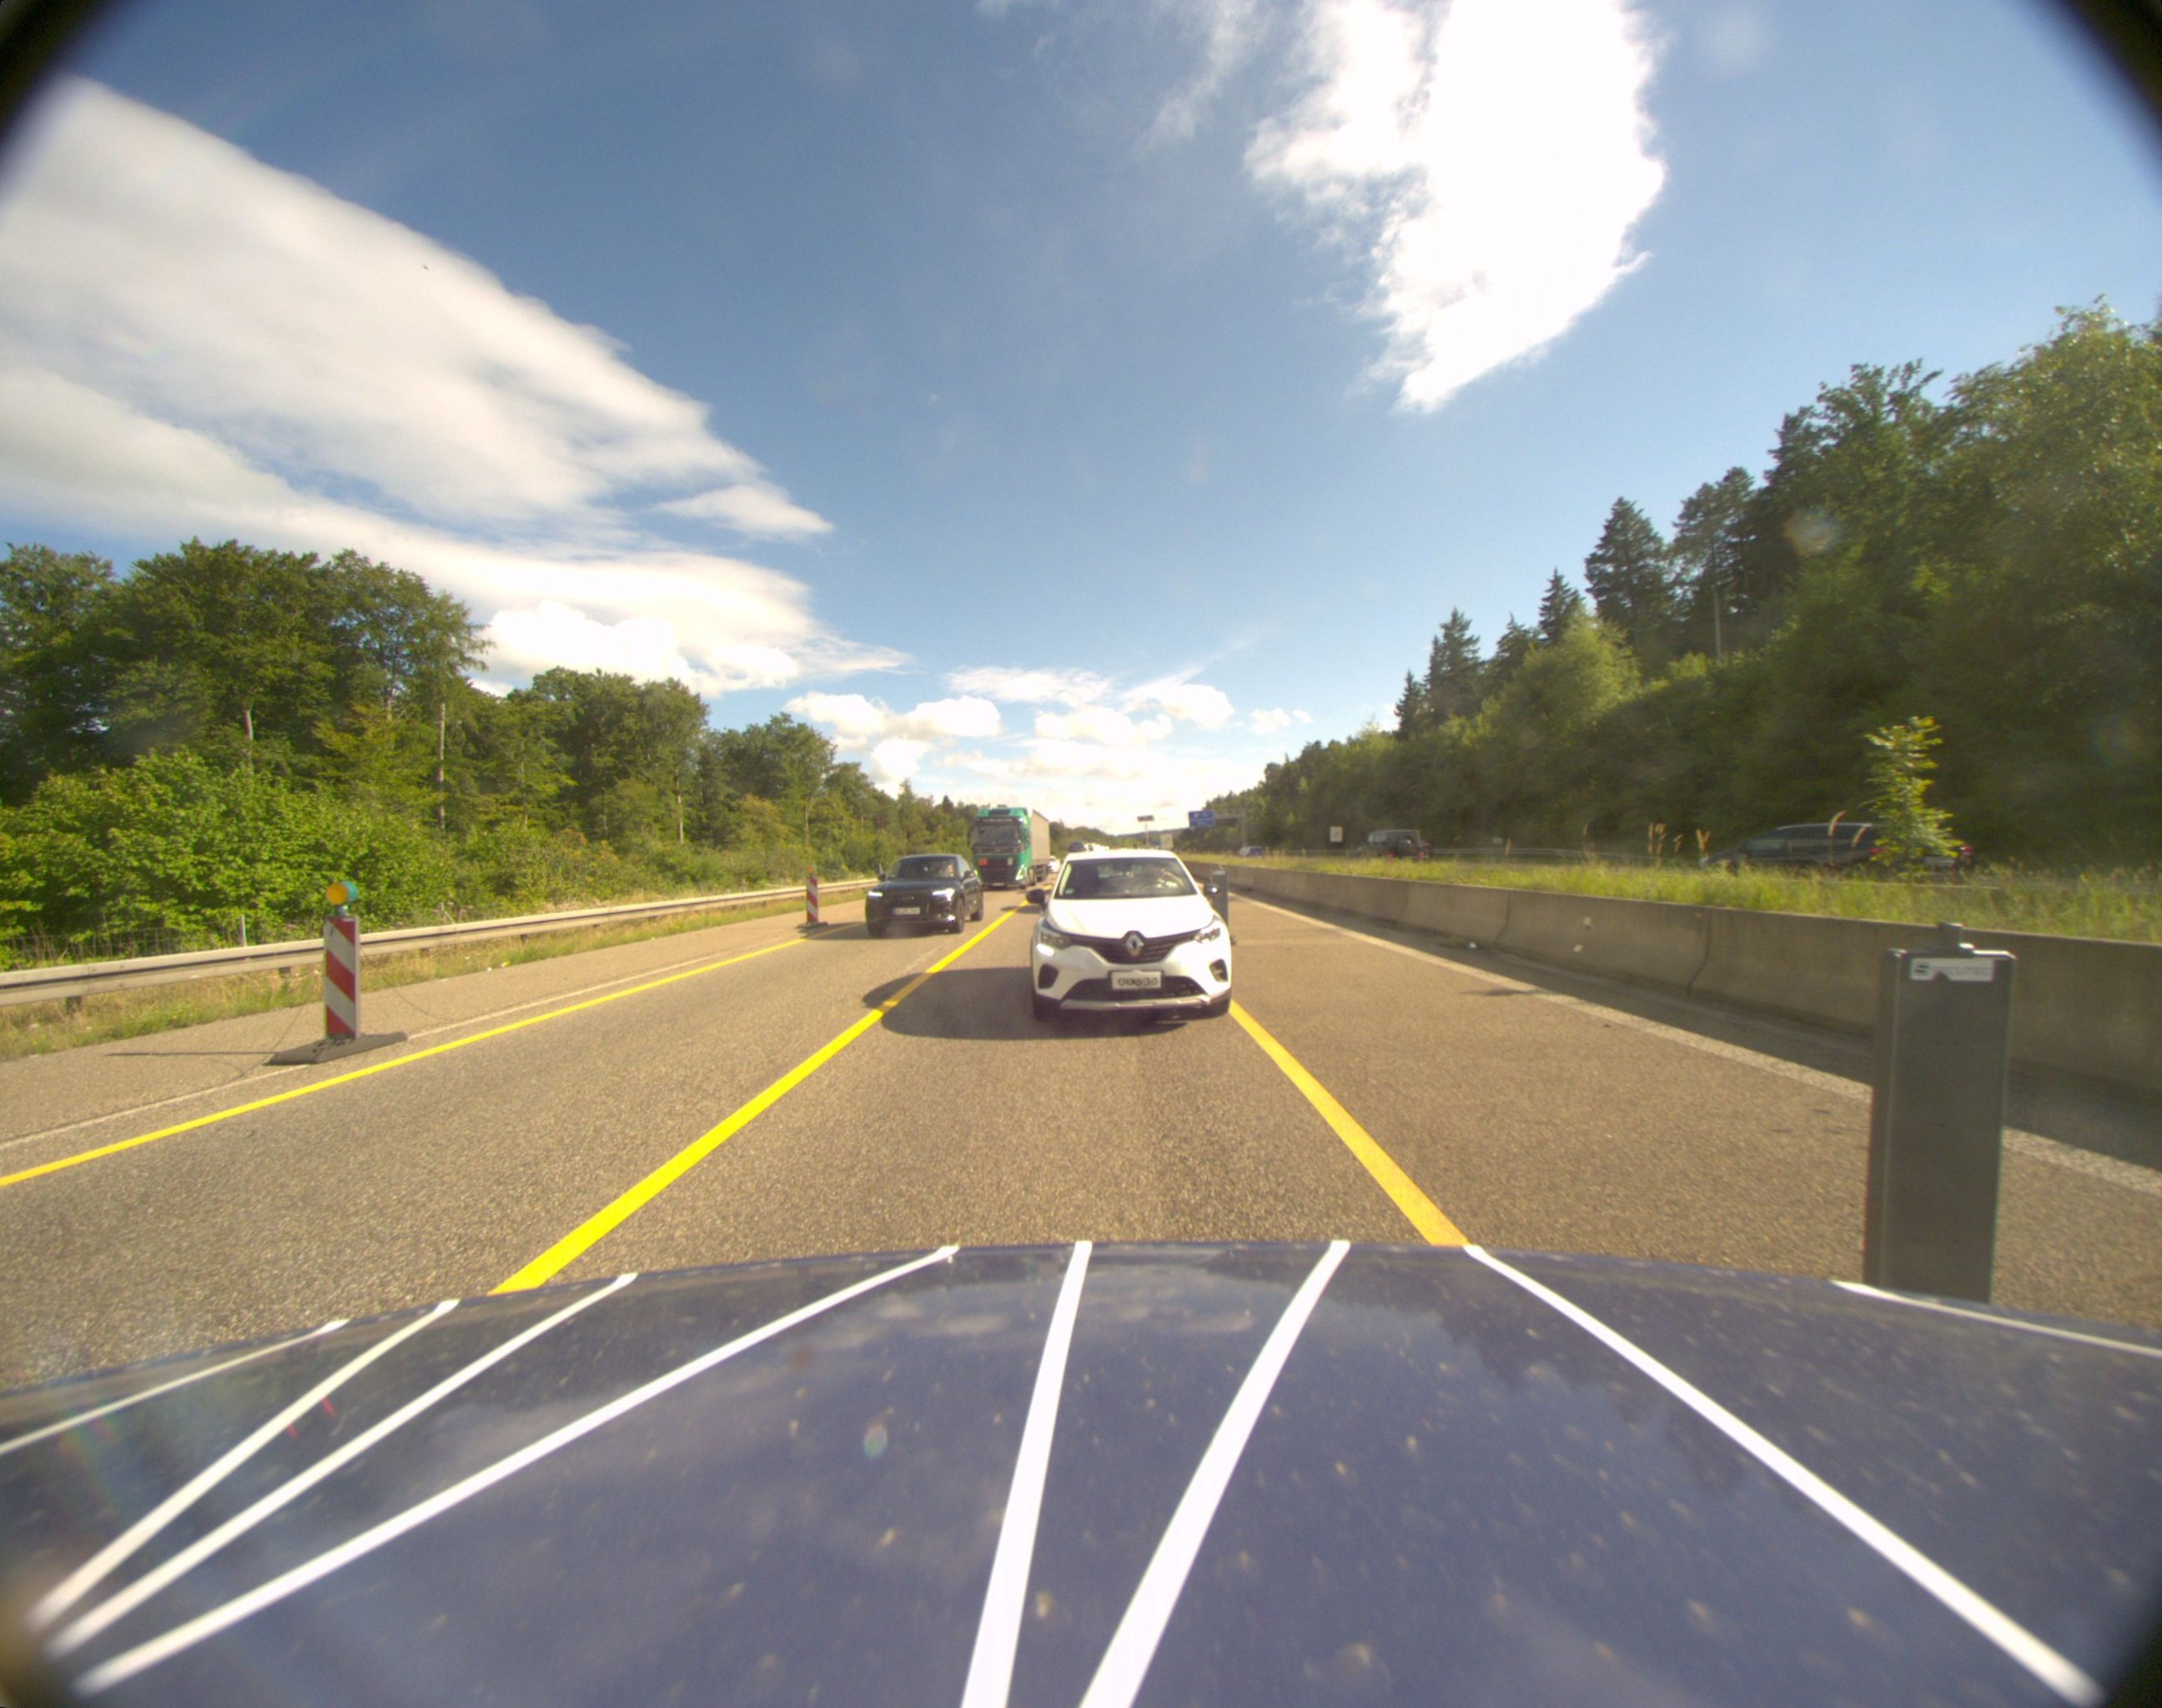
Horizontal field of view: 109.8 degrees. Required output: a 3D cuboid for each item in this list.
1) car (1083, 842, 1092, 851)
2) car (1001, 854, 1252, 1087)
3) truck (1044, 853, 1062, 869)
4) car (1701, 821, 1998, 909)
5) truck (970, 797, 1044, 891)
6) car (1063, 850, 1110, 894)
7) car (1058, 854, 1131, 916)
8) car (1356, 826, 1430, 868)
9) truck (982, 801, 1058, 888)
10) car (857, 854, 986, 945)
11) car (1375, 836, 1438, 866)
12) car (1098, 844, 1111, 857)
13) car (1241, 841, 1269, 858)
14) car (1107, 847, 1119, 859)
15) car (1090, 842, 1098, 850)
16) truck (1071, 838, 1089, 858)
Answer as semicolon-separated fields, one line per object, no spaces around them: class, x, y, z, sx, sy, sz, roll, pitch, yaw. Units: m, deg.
car;1.375;-1.598;161.036;1.750;1.787;3.999;-2;1;0
car;0.357;0.858;7.586;1.782;1.593;4.017;-2;1;1
truck;-2.389;0.575;65.672;1.468;1.215;3.087;-2;1;-2
car;14.965;0.160;15.185;1.782;1.448;4.104;-2;1;1
truck;-3.485;-0.476;37.276;2.527;4.076;6.856;-2;1;2
car;0.246;0.690;31.705;1.782;1.593;4.017;-2;1;1
car;0.367;0.792;21.411;1.782;1.468;4.017;-2;1;1
car;15.508;-0.365;37.985;1.782;1.891;4.617;-2;1;1
truck;-3.192;-0.457;43.876;2.470;4.119;14.212;-2;0;2
car;-3.280;0.859;16.505;1.782;1.593;4.293;-2;1;1
car;19.435;-0.208;45.615;1.782;1.679;4.617;-2;1;1
car;3.646;-0.529;119.022;1.998;2.002;3.999;-2;1;1
car;17.525;-0.465;76.688;1.782;1.593;4.311;-2;1;1
car;5.686;-0.237;133.338;1.998;2.002;4.000;-2;1;3
car;3.103;-2.008;182.352;1.750;1.787;3.999;-2;1;0
truck;-0.145;-1.044;130.111;2.576;3.168;6.802;-2;1;3
